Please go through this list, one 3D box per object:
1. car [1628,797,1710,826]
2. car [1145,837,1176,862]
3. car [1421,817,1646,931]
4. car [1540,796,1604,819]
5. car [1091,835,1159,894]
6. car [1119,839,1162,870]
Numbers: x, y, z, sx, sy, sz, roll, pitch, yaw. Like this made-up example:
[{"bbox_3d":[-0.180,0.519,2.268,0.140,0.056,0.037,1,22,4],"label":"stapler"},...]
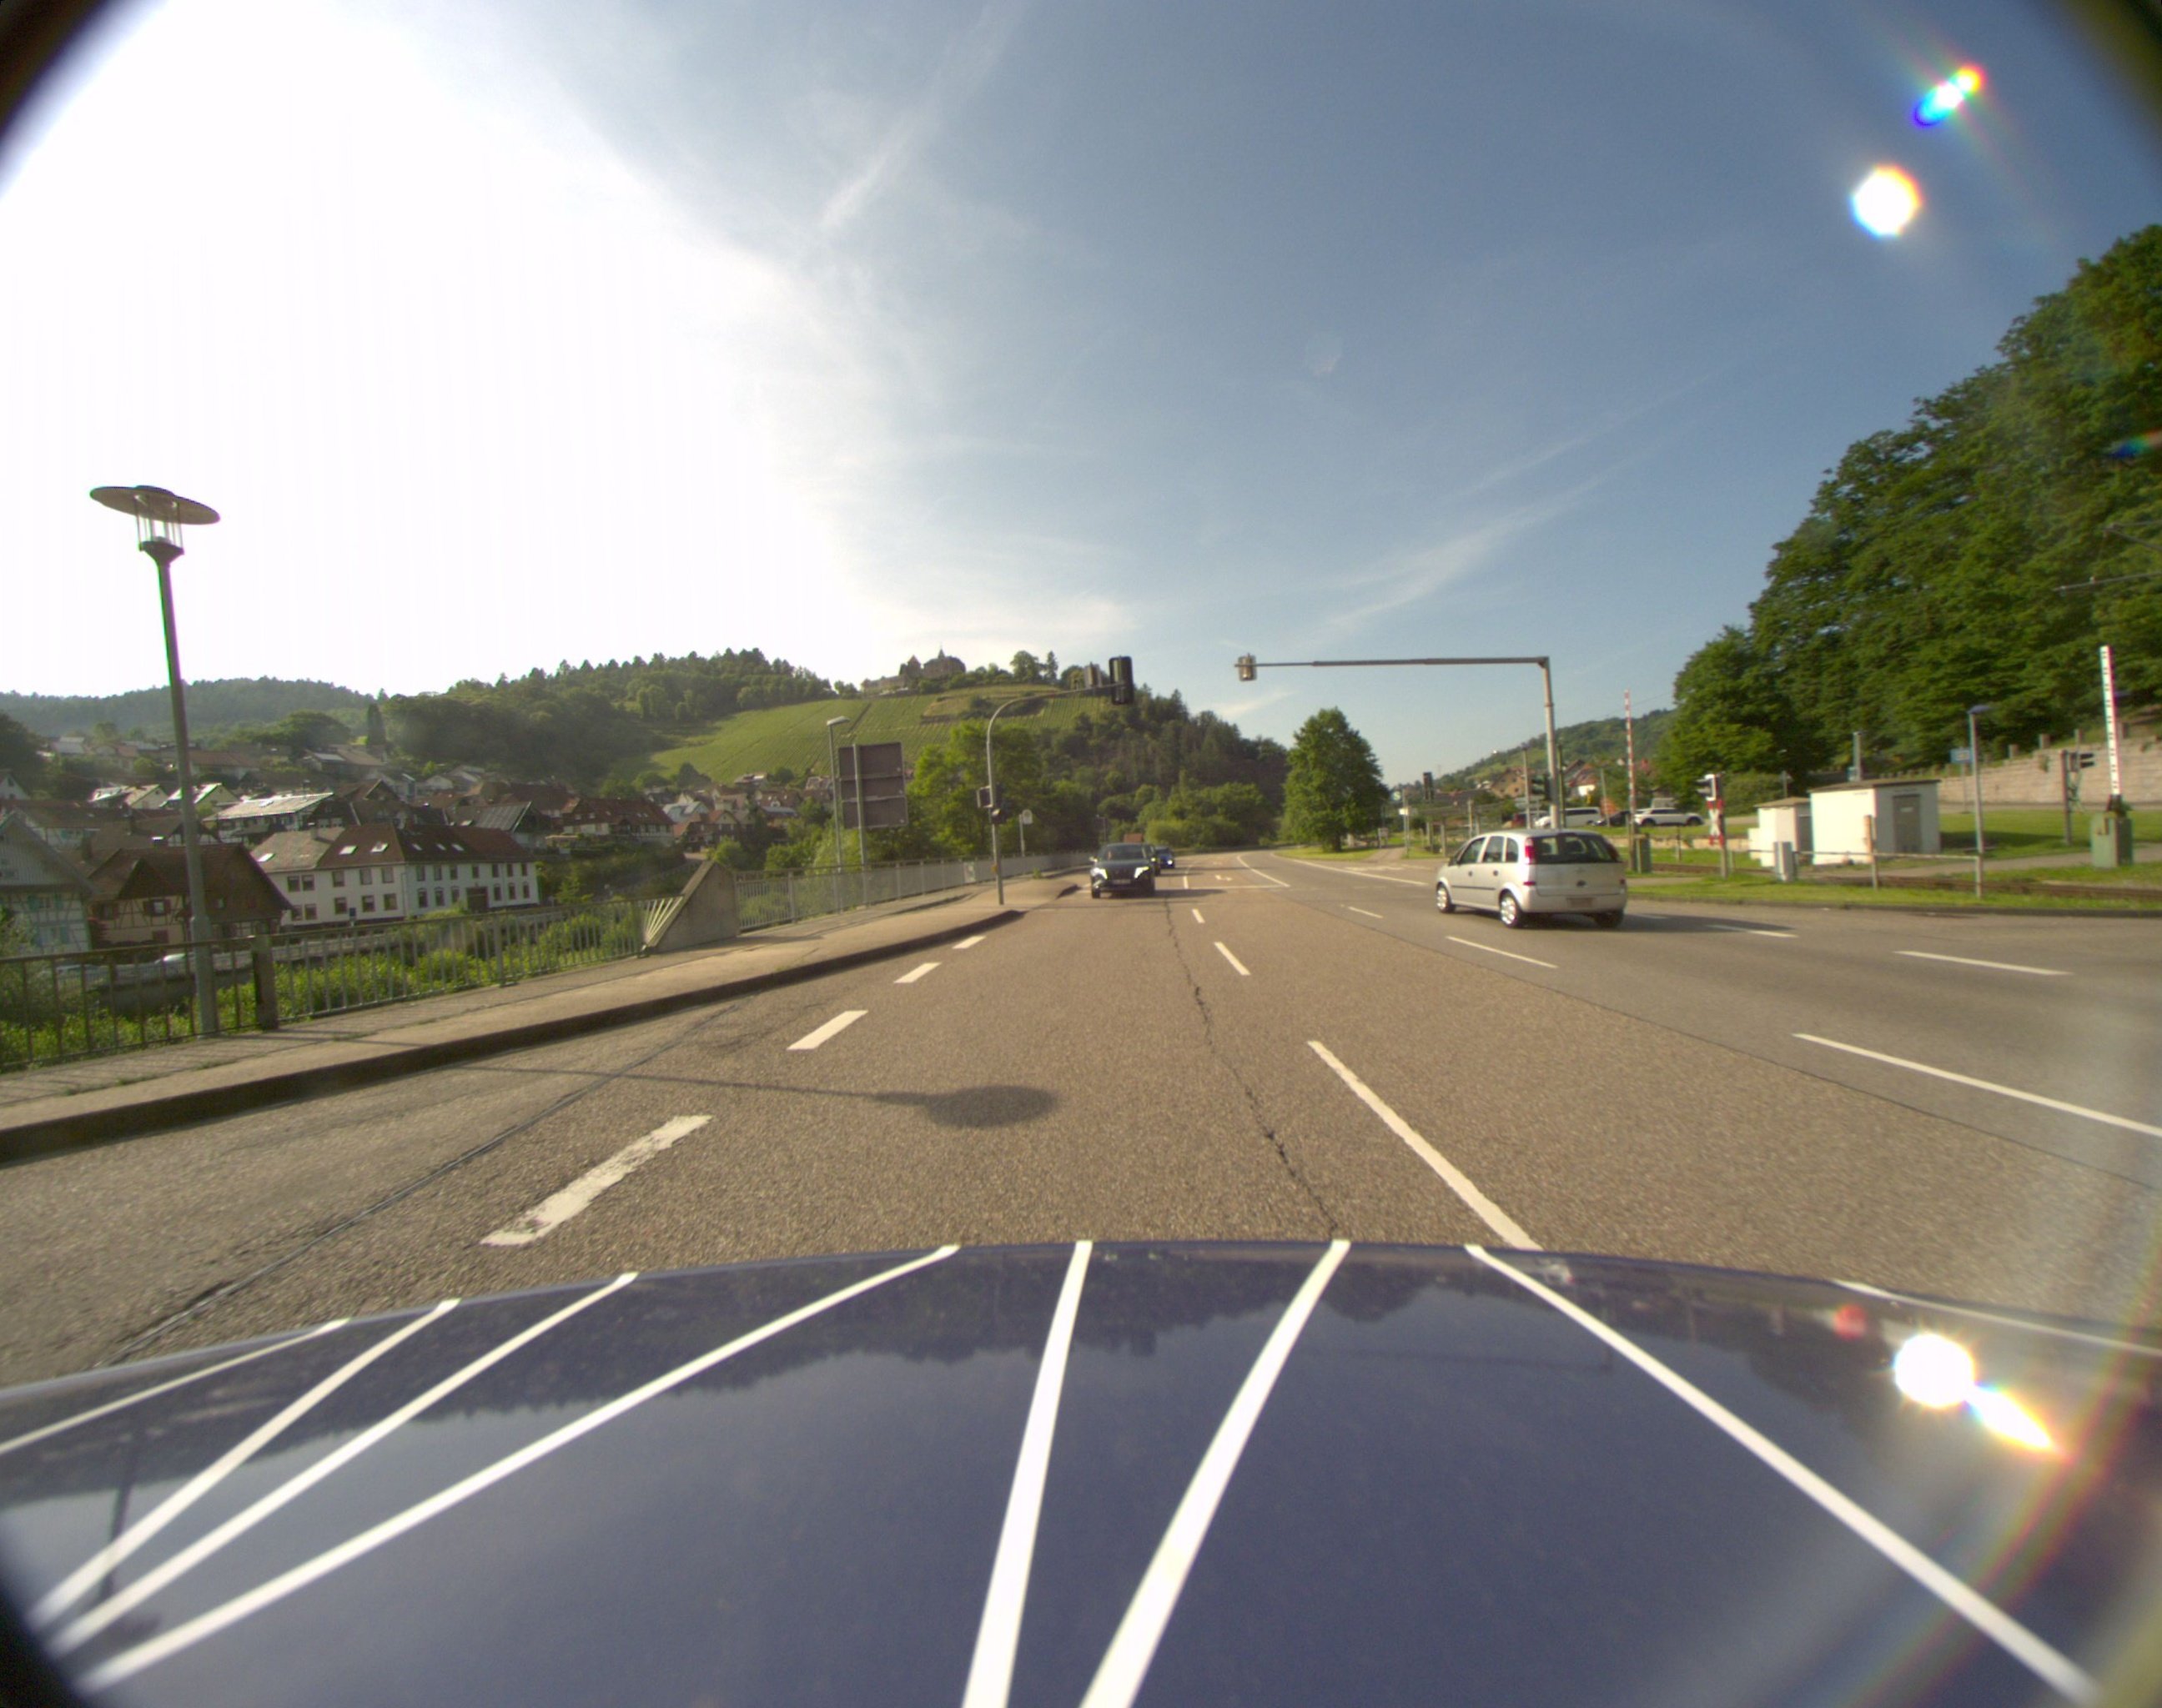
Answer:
[{"bbox_3d":[39.464,-2.846,51.089,3.992,1.740,1.642,-2,1,17],"label":"car"},{"bbox_3d":[5.140,-0.315,48.663,1.867,1.483,4.001,-2,1,7],"label":"car"},{"bbox_3d":[7.725,0.262,13.491,1.696,1.647,4.171,-2,1,4],"label":"car"},{"bbox_3d":[43.827,-4.148,67.897,4.445,1.793,2.002,-2,2,16],"label":"car"},{"bbox_3d":[1.373,0.255,23.538,1.863,1.576,4.000,-2,2,4],"label":"car"},{"bbox_3d":[3.051,-0.001,38.066,1.997,1.384,4.001,-2,1,6],"label":"car"}]
